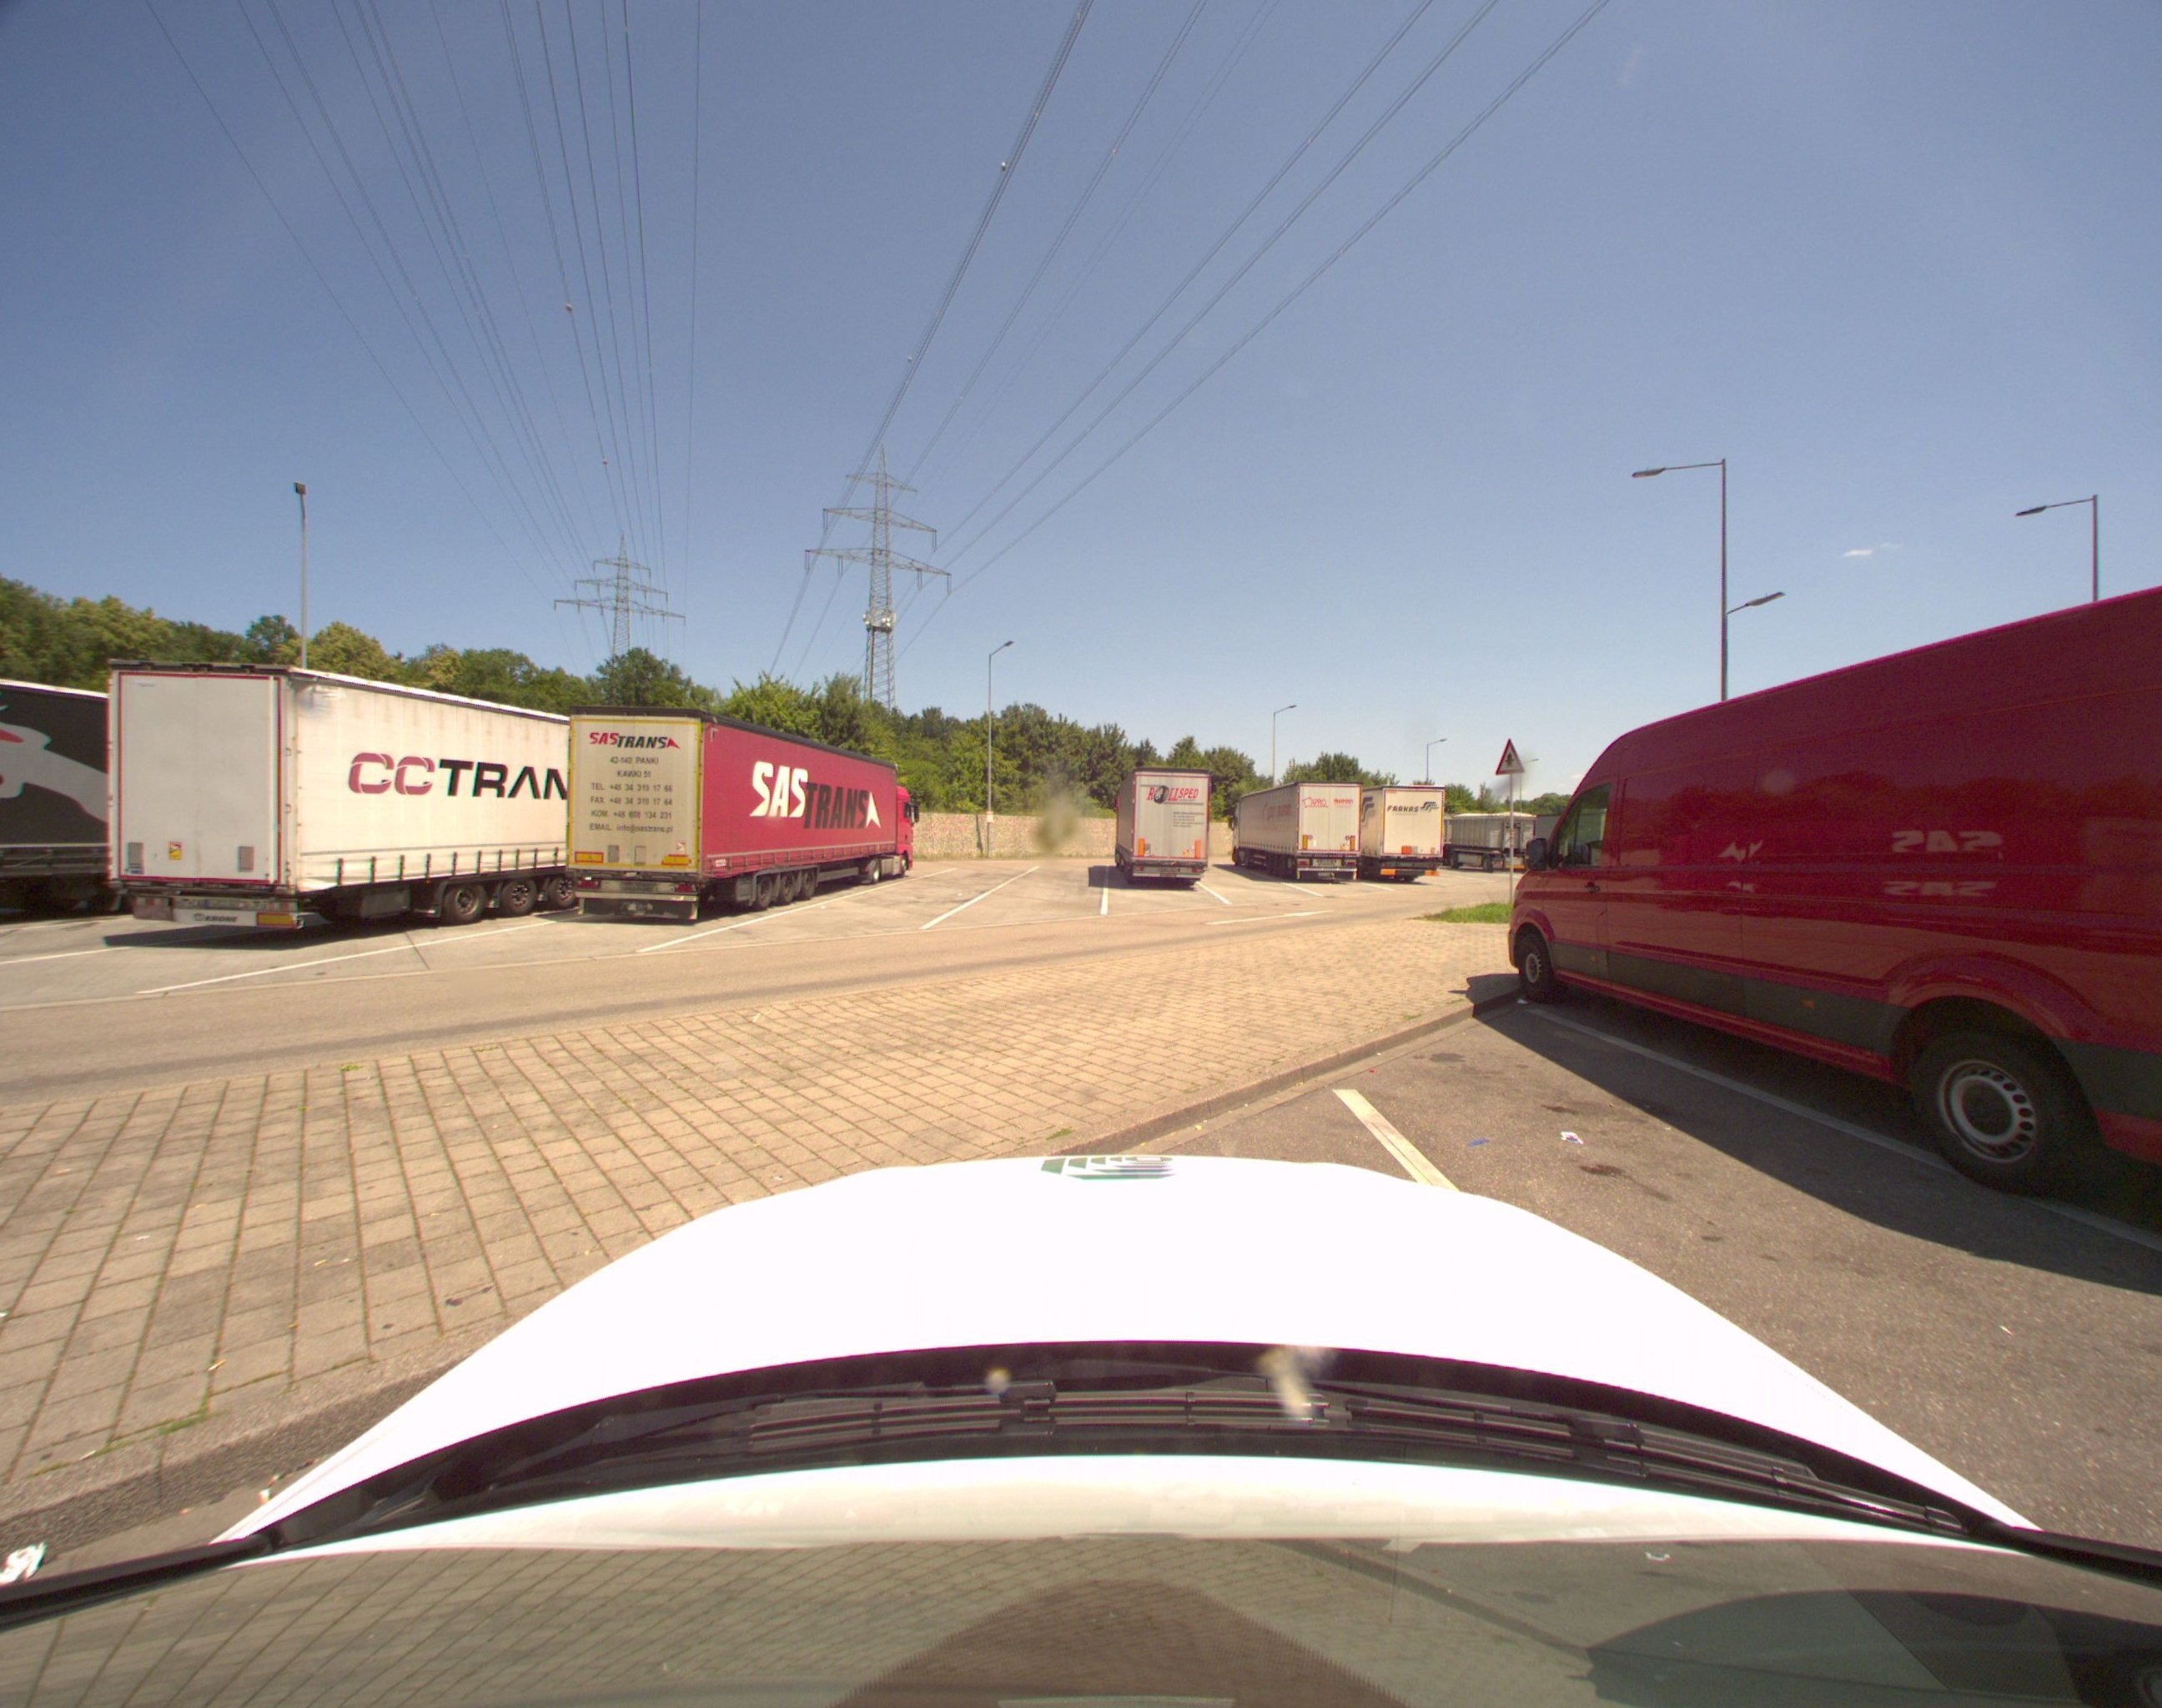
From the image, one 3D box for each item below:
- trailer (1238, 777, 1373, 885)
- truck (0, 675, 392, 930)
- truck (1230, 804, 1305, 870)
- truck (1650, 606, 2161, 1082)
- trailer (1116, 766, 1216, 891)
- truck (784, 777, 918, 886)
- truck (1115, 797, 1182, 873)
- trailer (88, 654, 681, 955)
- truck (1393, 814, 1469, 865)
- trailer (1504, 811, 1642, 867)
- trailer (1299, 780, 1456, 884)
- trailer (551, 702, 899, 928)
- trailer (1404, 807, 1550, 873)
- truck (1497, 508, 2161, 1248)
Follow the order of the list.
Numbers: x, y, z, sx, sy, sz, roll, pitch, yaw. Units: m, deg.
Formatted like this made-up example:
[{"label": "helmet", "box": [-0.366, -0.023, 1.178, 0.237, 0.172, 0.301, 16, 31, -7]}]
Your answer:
[{"label": "trailer", "box": [9.977, -1.115, 38.306, 2.847, 4.109, 13.770, 1, 2, 2]}, {"label": "truck", "box": [-18.547, -0.935, 15.829, 2.696, 4.070, 8.694, 1, 2, 2]}, {"label": "truck", "box": [10.174, -0.972, 45.069, 2.855, 3.362, 5.977, 1, 2, 2]}, {"label": "truck", "box": [8.006, -0.068, 6.891, 2.406, 2.906, 6.466, -1, 0, 6]}, {"label": "trailer", "box": [3.046, -1.044, 33.213, 2.848, 3.971, 13.767, 1, 2, 1]}, {"label": "truck", "box": [-7.833, -0.790, 28.545, 2.801, 3.362, 5.977, 1, 2, 2]}, {"label": "truck", "box": [3.136, -0.934, 39.415, 2.855, 3.362, 5.977, 1, 2, 2]}, {"label": "trailer", "box": [-12.159, -0.838, 16.423, 2.696, 4.101, 10.395, 1, 2, 2]}, {"label": "truck", "box": [24.619, -1.076, 57.605, 2.855, 3.362, 5.977, 1, 2, 2]}, {"label": "trailer", "box": [38.213, -1.289, 64.193, 2.847, 3.904, 13.770, 1, 2, 2]}, {"label": "trailer", "box": [13.605, -1.089, 39.231, 2.847, 4.109, 13.770, 1, 2, 2]}, {"label": "trailer", "box": [-8.046, -0.924, 21.728, 2.811, 4.070, 13.770, 1, 2, 2]}, {"label": "trailer", "box": [24.435, -0.988, 51.508, 2.847, 3.599, 13.770, 1, 2, 2]}, {"label": "truck", "box": [5.146, 0.082, 5.457, 2.001, 2.651, 6.466, -1, 0, 6]}]
